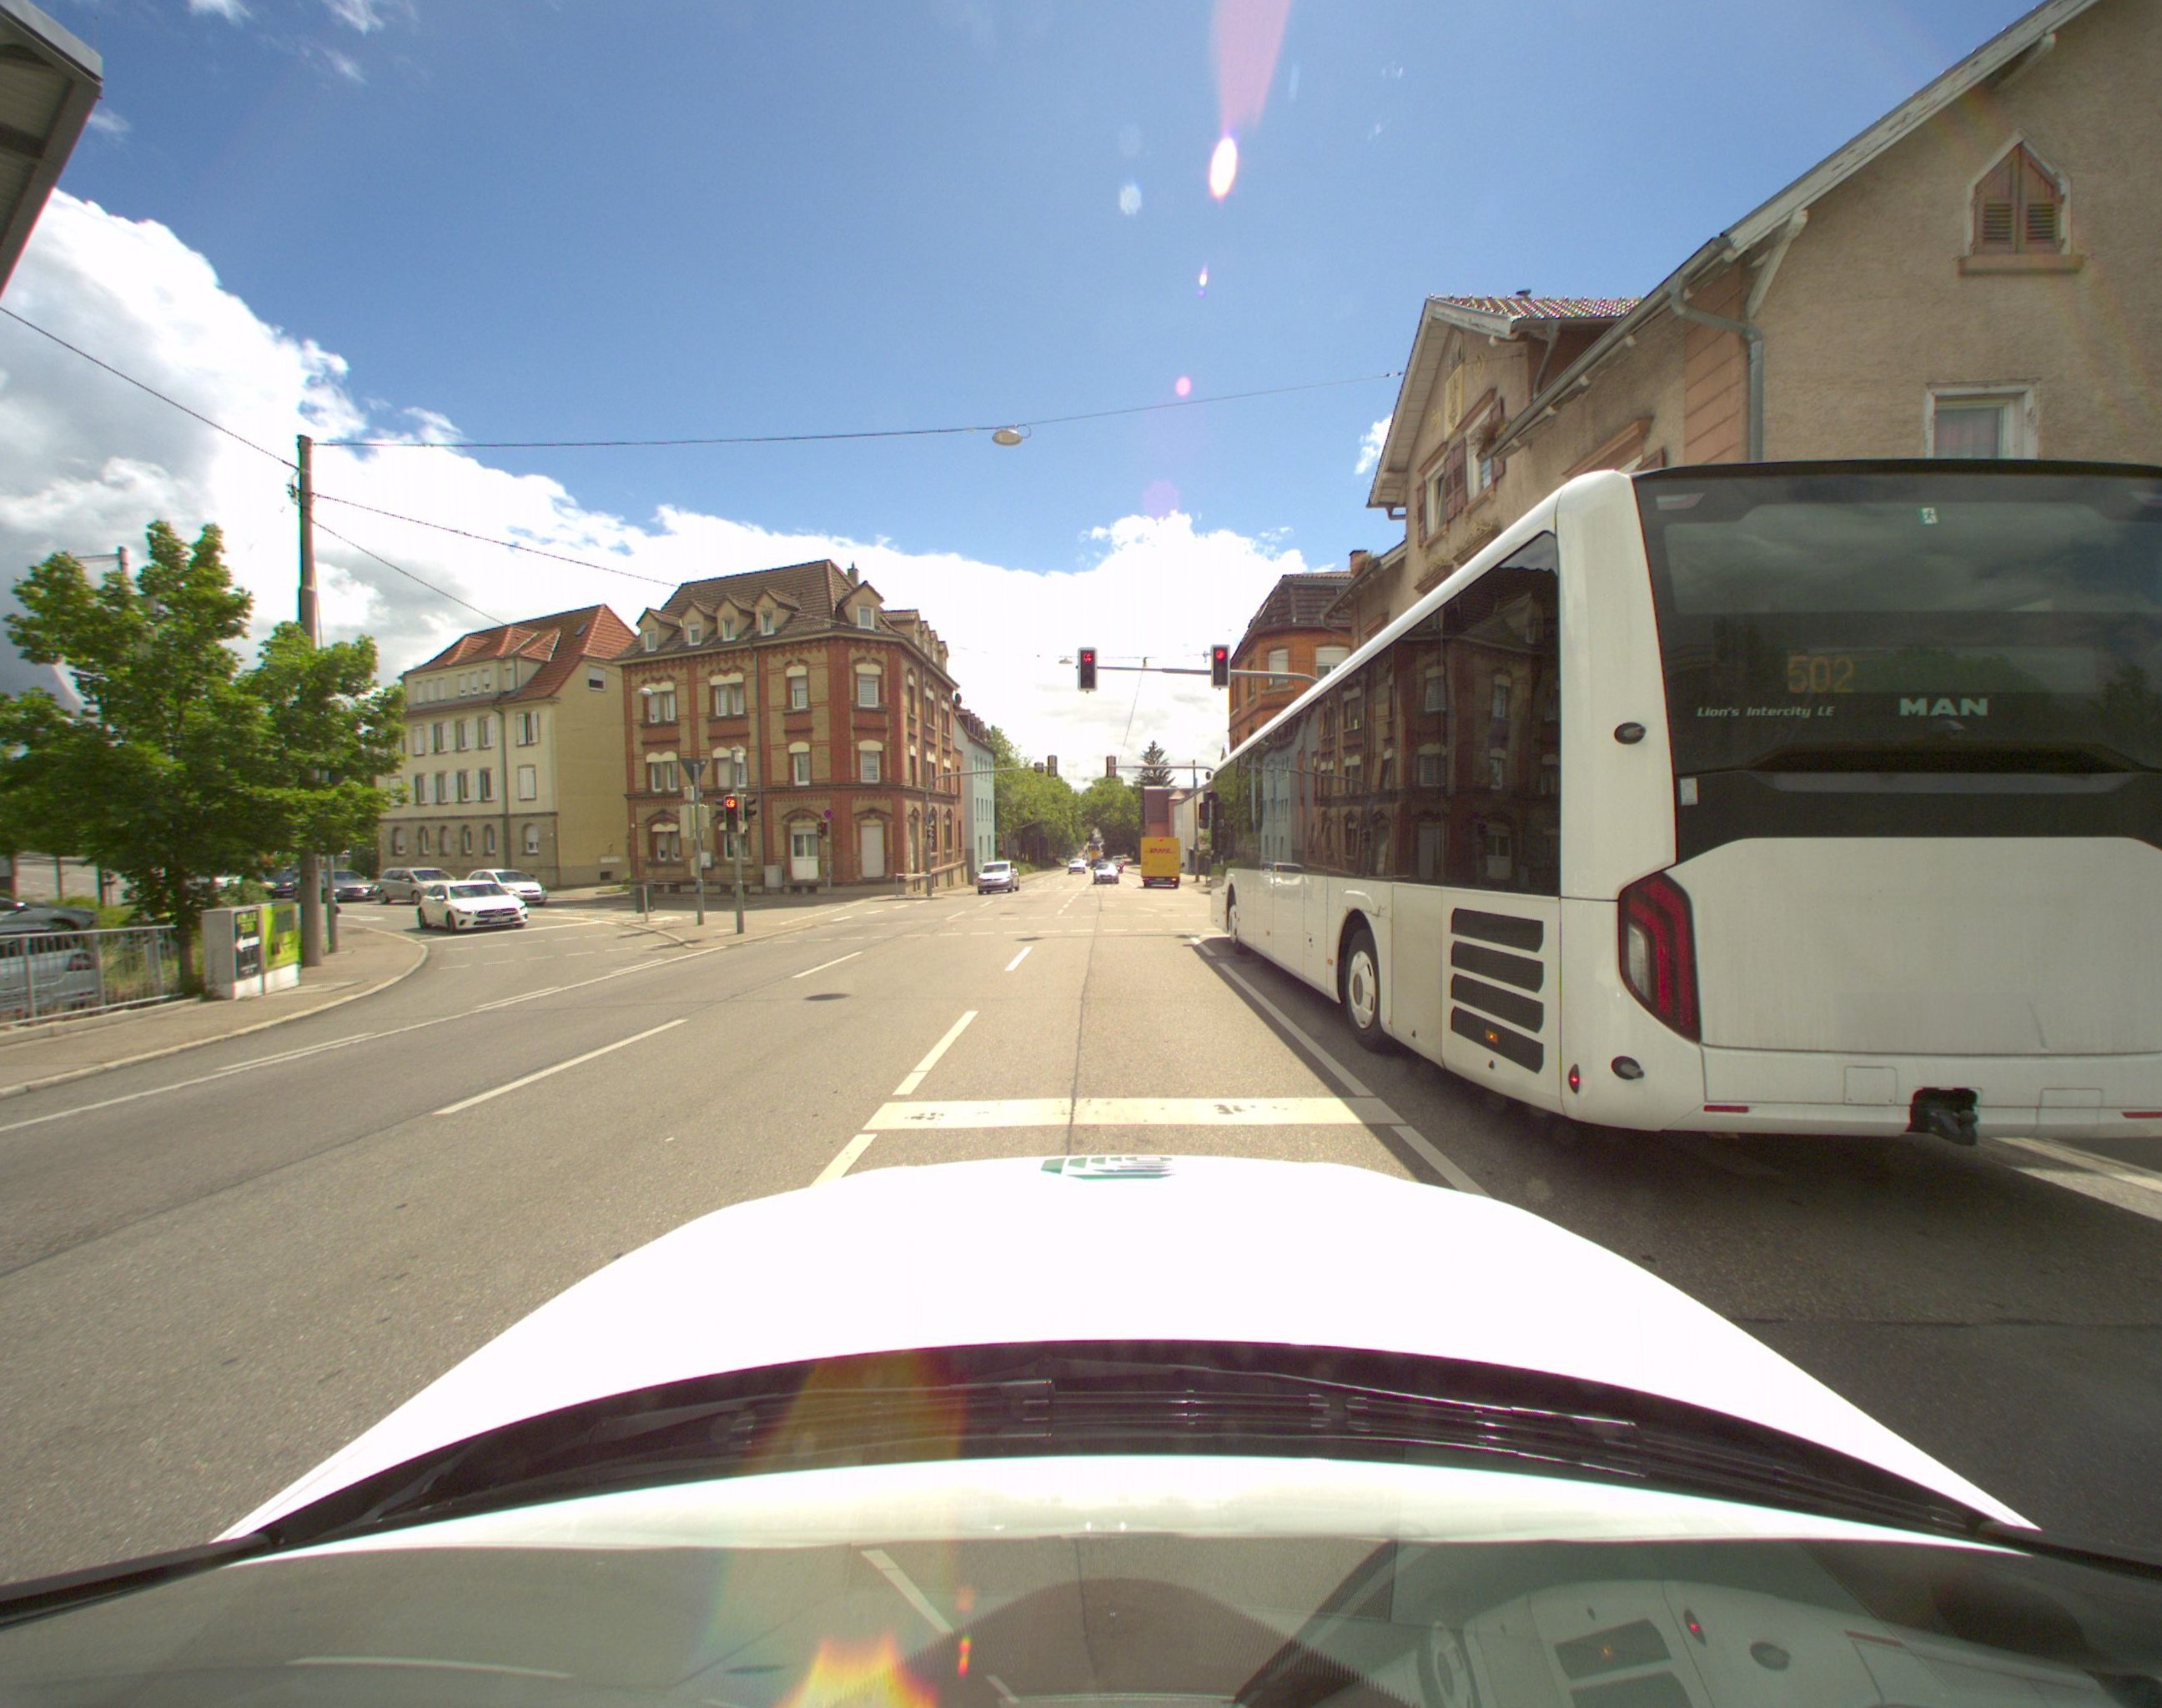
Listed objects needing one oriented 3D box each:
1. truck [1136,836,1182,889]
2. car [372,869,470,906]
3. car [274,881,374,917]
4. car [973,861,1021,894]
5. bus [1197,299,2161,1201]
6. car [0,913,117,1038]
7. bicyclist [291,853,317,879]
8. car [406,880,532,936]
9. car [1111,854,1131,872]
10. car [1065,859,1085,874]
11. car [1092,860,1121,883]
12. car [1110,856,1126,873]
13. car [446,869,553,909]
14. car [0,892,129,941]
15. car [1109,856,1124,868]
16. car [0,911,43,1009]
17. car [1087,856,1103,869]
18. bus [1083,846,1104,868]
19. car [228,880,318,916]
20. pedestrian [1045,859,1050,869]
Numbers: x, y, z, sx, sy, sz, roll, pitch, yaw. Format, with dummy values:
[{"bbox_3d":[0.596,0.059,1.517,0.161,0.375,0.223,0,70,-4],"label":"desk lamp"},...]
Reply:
[{"bbox_3d":[4.673,0.483,48.508,2.528,2.913,6.583,0,-1,6],"label":"truck"},{"bbox_3d":[-29.210,1.474,36.048,3.951,1.519,1.757,-1,0,24],"label":"car"},{"bbox_3d":[-35.454,2.083,38.140,3.951,1.519,2.011,-1,0,24],"label":"car"},{"bbox_3d":[-4.417,1.215,43.571,1.928,1.563,4.390,-2,0,2],"label":"car"},{"bbox_3d":[3.502,-0.362,9.419,2.893,3.510,12.492,0,-1,2],"label":"bus"},{"bbox_3d":[-16.119,1.743,12.182,3.638,1.575,1.766,-1,-2,34],"label":"car"},{"bbox_3d":[-46.493,0.707,48.716,1.065,1.499,0.592,-2,0,10],"label":"bicyclist"},{"bbox_3d":[-18.247,1.545,24.215,4.334,1.447,1.875,-2,0,37],"label":"car"},{"bbox_3d":[4.554,0.999,92.562,1.987,2.013,3.999,-2,0,0],"label":"car"},{"bbox_3d":[-0.669,1.474,95.476,2.199,1.613,4.549,-2,0,2],"label":"car"},{"bbox_3d":[1.735,1.159,55.184,1.858,1.367,4.549,-2,0,2],"label":"car"},{"bbox_3d":[4.186,1.202,92.519,1.812,1.784,4.002,-2,0,2],"label":"car"},{"bbox_3d":[-23.602,1.396,33.061,3.951,1.497,1.711,-1,0,24],"label":"car"},{"bbox_3d":[-29.256,1.734,22.214,1.795,1.186,4.025,-1,0,31],"label":"car"},{"bbox_3d":[5.624,1.260,129.625,2.086,1.830,4.140,-1,0,-1],"label":"car"},{"bbox_3d":[-19.714,1.835,14.152,3.744,1.523,1.526,-1,0,30],"label":"car"},{"bbox_3d":[2.028,1.186,118.808,2.086,1.830,4.140,-1,0,-1],"label":"car"},{"bbox_3d":[2.086,0.599,144.215,3.290,3.631,11.240,-2,0,-1],"label":"bus"},{"bbox_3d":[-39.938,2.135,40.247,4.291,1.586,2.012,-1,0,29],"label":"car"},{"bbox_3d":[-5.625,1.646,136.760,0.604,1.758,0.653,-2,0,0],"label":"pedestrian"}]
